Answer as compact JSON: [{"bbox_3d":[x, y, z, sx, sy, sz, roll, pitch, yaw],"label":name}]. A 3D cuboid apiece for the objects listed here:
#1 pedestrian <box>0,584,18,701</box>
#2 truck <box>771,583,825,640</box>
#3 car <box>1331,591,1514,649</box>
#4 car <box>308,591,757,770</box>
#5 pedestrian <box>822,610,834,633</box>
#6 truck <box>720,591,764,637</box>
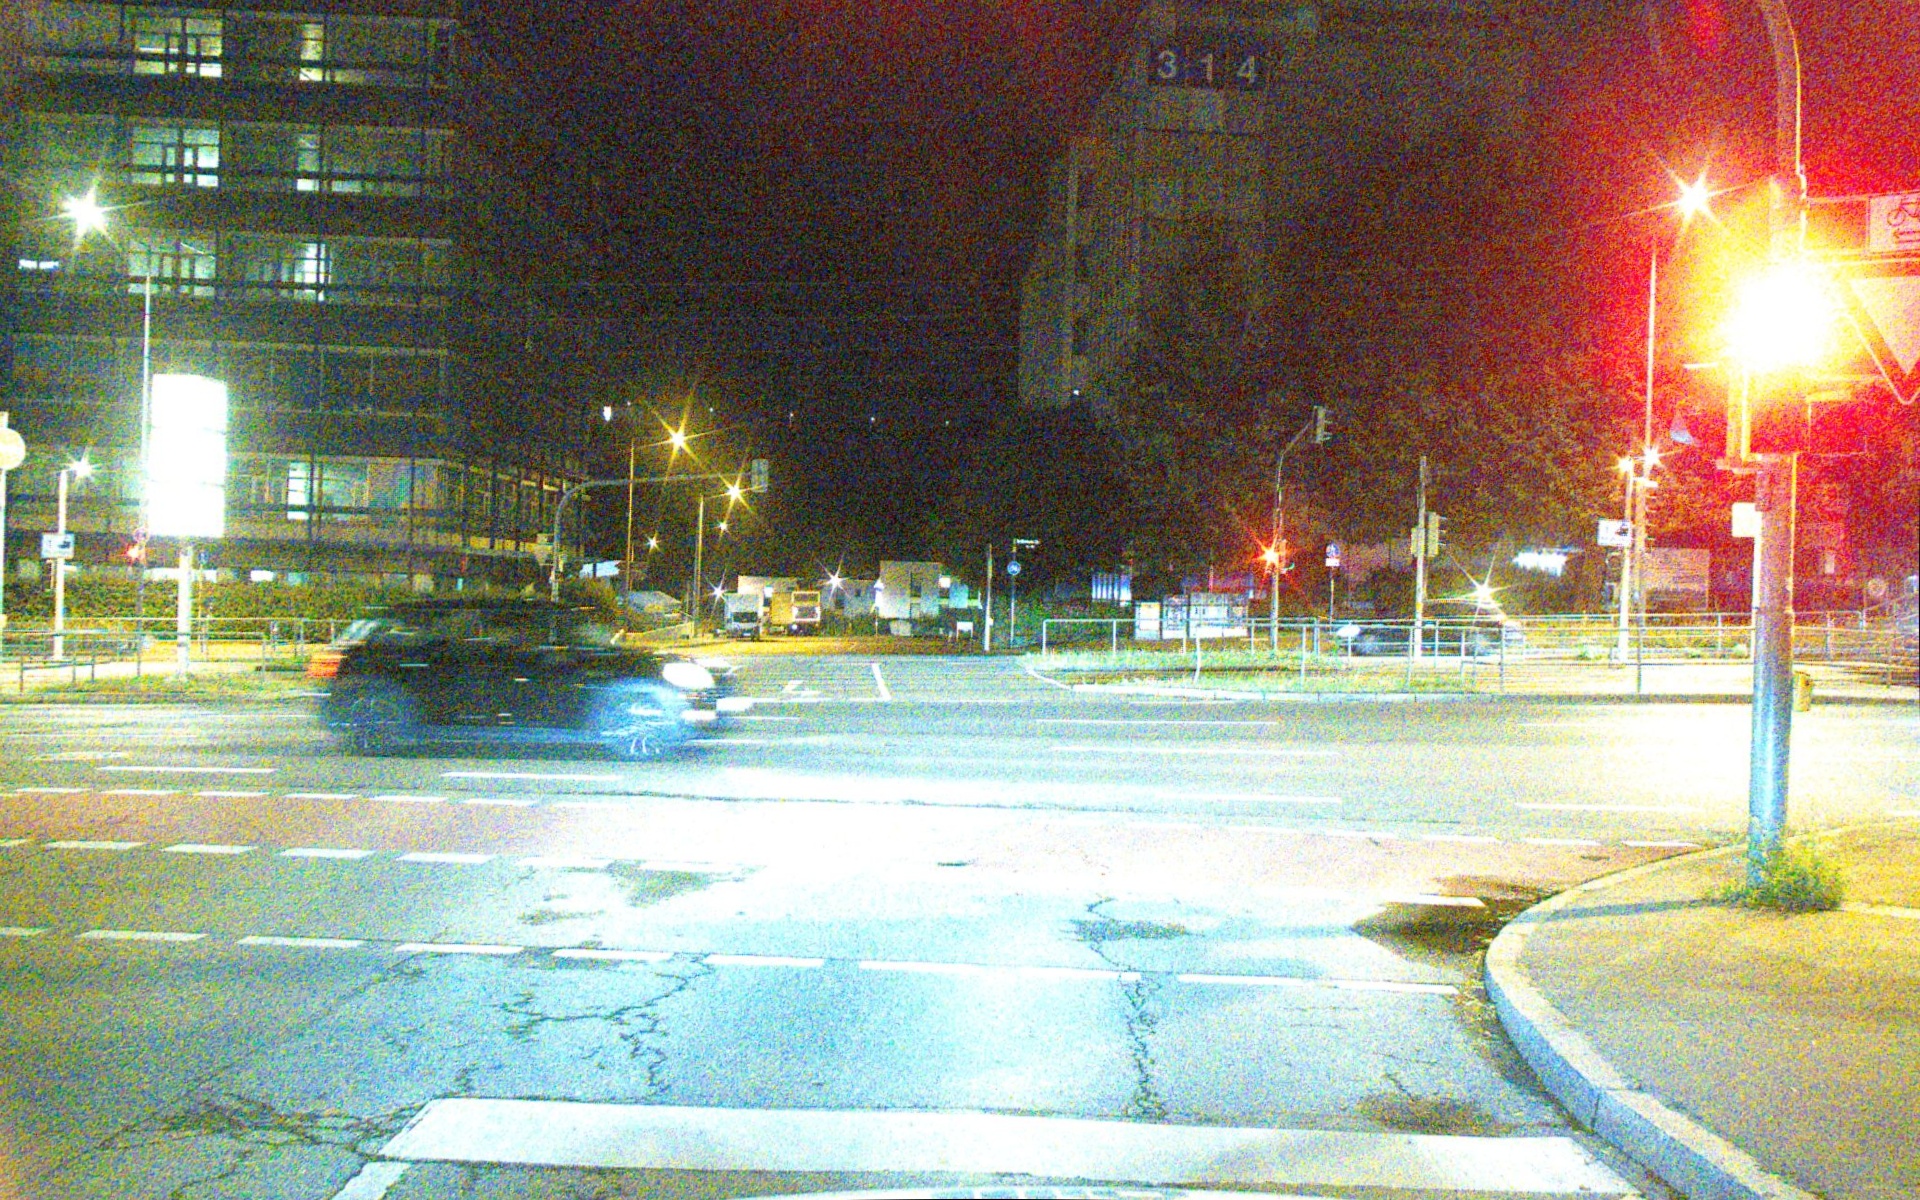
[{"bbox_3d":[-14.749,0.634,24.904,0.664,1.752,0.705,1,-1,29],"label":"pedestrian"},{"bbox_3d":[-14.617,1.023,148.612,3.307,4.927,7.868,2,-1,-17],"label":"truck"},{"bbox_3d":[11.924,0.527,42.806,4.237,1.412,1.843,-1,-1,2],"label":"car"},{"bbox_3d":[-3.951,0.723,15.728,3.797,1.499,1.659,-1,3,0],"label":"car"},{"bbox_3d":[-11.785,1.917,147.331,0.836,1.945,1.001,2,-1,-18],"label":"pedestrian"},{"bbox_3d":[-15.772,1.018,119.434,2.377,3.143,6.414,2,-1,-14],"label":"truck"}]
